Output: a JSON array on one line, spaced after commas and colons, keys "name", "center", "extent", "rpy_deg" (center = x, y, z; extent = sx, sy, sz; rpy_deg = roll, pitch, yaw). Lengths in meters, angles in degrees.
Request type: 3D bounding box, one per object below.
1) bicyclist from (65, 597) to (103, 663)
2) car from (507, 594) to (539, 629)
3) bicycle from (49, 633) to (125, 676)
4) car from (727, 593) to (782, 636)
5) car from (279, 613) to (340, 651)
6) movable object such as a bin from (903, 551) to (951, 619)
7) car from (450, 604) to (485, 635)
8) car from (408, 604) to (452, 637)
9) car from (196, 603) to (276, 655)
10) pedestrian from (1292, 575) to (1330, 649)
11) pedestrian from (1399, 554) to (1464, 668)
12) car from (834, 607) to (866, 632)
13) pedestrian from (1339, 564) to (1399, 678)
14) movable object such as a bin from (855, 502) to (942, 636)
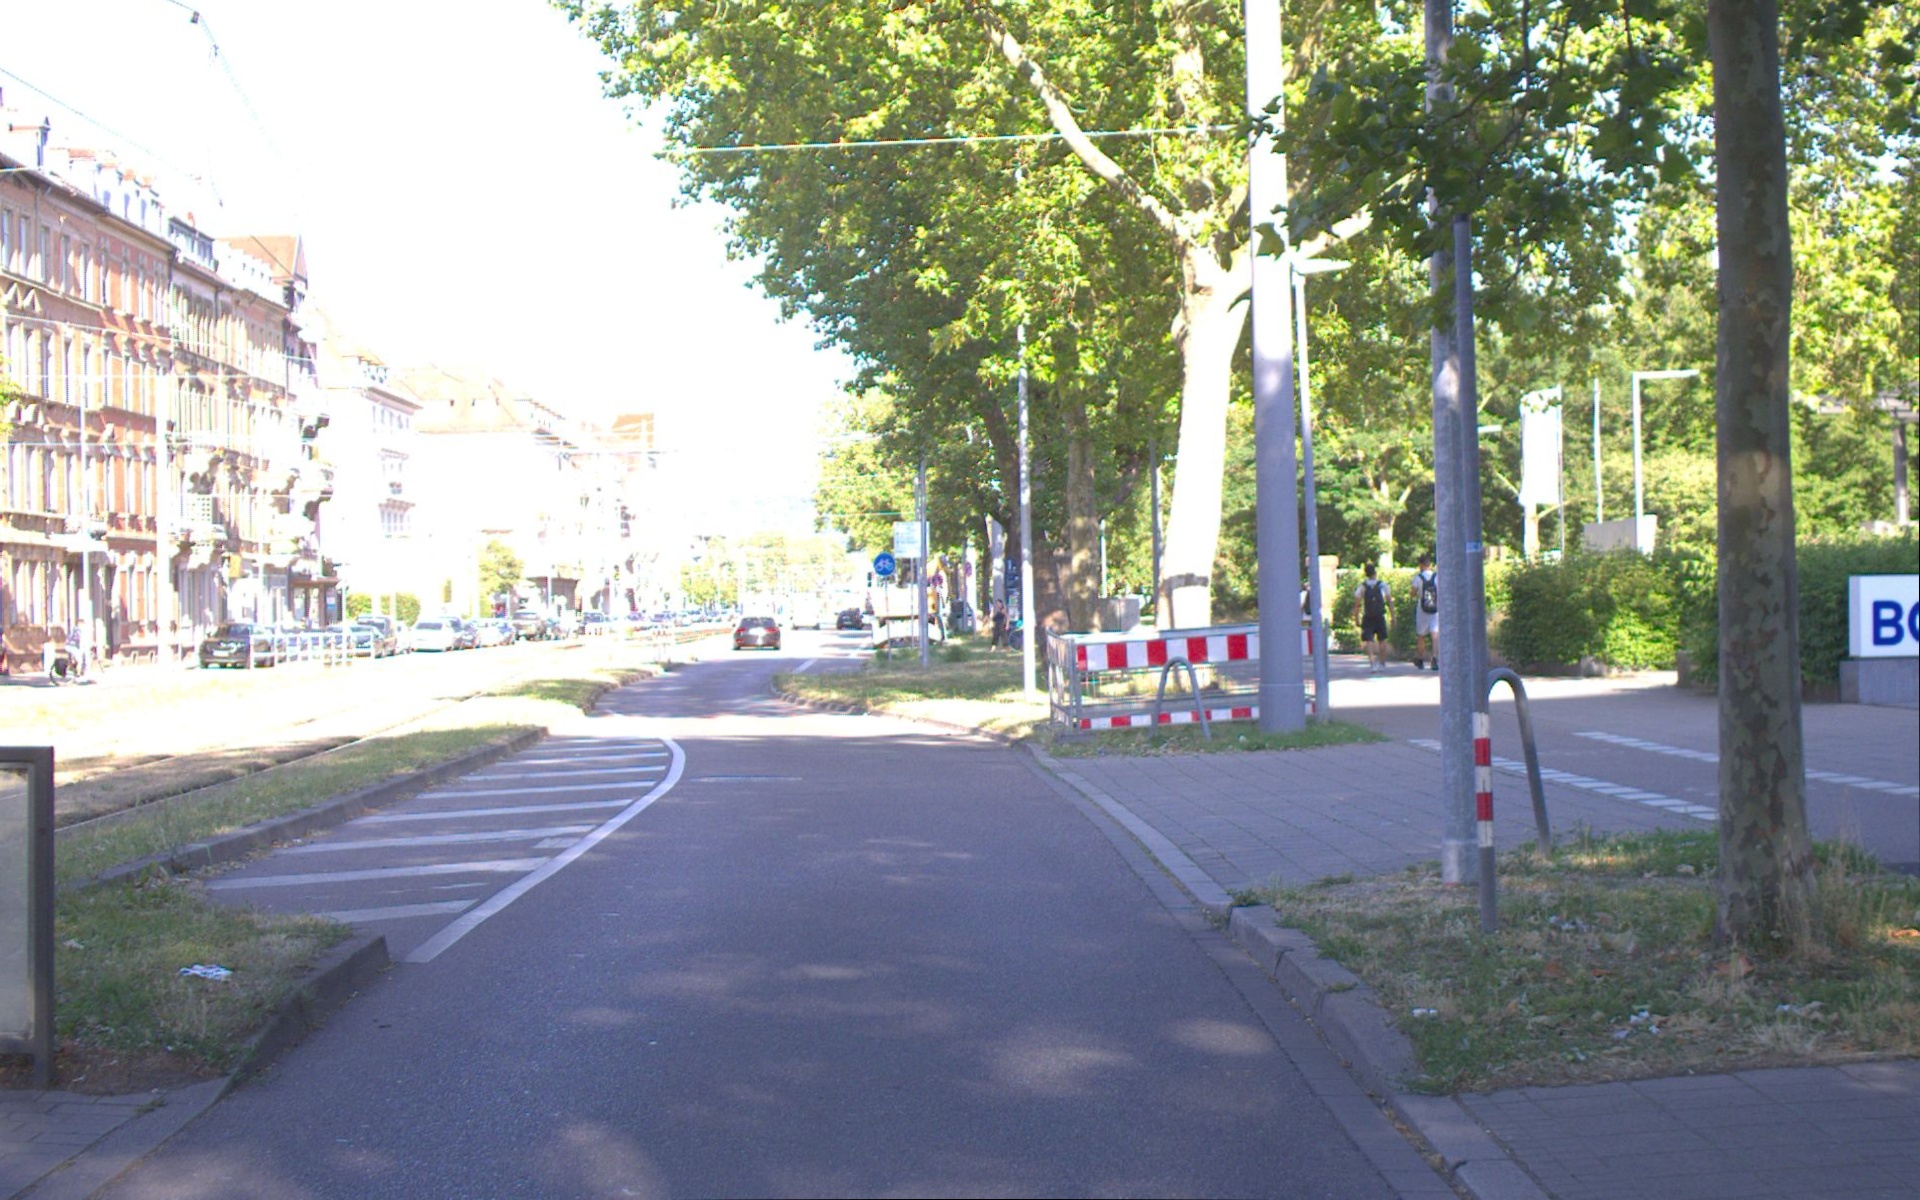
[{"name": "bicyclist", "center": [-23.891, 0.806, 93.734], "extent": [0.919, 1.709, 0.767], "rpy_deg": [-2, 4, -15]}, {"name": "car", "center": [-27.932, 0.723, 219.909], "extent": [1.658, 2.132, 3.525], "rpy_deg": [1, 1, -1]}, {"name": "bicycle", "center": [-23.828, 1.485, 93.796], "extent": [1.952, 1.037, 0.767], "rpy_deg": [-2, 4, -15]}, {"name": "car", "center": [-8.257, 0.561, 138.311], "extent": [1.993, 1.678, 4.000], "rpy_deg": [1, 0, -1]}, {"name": "car", "center": [-26.326, 1.290, 139.213], "extent": [1.776, 1.401, 3.909], "rpy_deg": [1, 1, -1]}, {"name": "movable object such as a bin", "center": [-1.562, -0.684, 161.241], "extent": [1.968, 3.003, 4.796], "rpy_deg": [-4, 0, -1]}, {"name": "car", "center": [-26.526, 1.028, 185.197], "extent": [1.527, 1.555, 3.223], "rpy_deg": [1, 1, -1]}, {"name": "car", "center": [-26.944, 1.015, 174.889], "extent": [1.741, 1.555, 3.768], "rpy_deg": [1, 1, -1]}, {"name": "car", "center": [-26.239, 1.035, 124.714], "extent": [2.015, 1.748, 4.558], "rpy_deg": [1, 1, -1]}, {"name": "pedestrian", "center": [7.425, 0.246, 72.661], "extent": [0.650, 1.534, 0.783], "rpy_deg": [-2, 0, -1]}, {"name": "pedestrian", "center": [7.618, 0.177, 55.564], "extent": [0.805, 1.787, 1.110], "rpy_deg": [-3, 0, -1]}, {"name": "car", "center": [-8.159, 1.438, 255.176], "extent": [1.993, 1.853, 4.001], "rpy_deg": [1, 0, -7]}, {"name": "pedestrian", "center": [6.588, 0.334, 55.414], "extent": [0.750, 1.787, 1.086], "rpy_deg": [-3, 0, -1]}, {"name": "movable object such as a bin", "center": [-2.538, -1.214, 139.058], "extent": [3.087, 5.071, 8.892], "rpy_deg": [-4, 0, -1]}]
